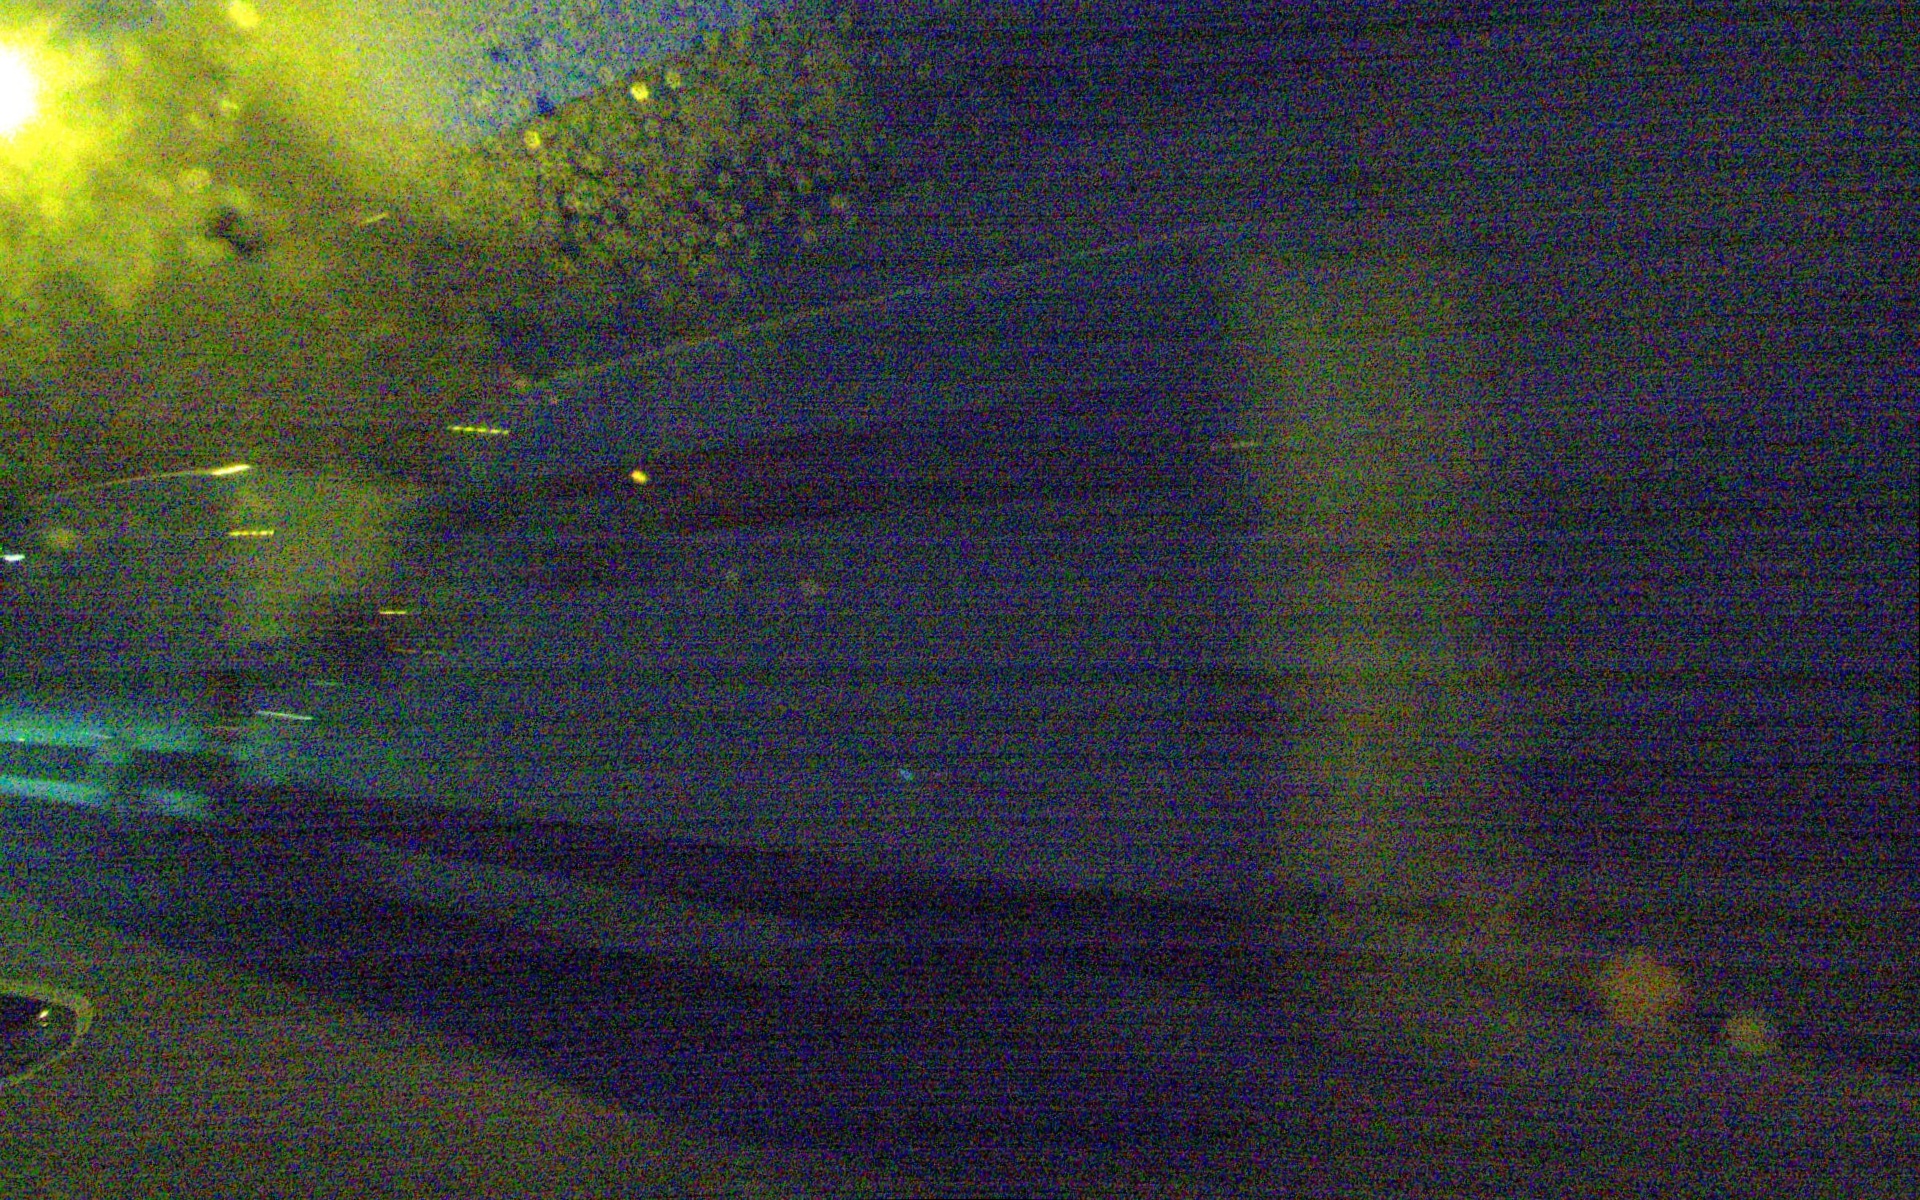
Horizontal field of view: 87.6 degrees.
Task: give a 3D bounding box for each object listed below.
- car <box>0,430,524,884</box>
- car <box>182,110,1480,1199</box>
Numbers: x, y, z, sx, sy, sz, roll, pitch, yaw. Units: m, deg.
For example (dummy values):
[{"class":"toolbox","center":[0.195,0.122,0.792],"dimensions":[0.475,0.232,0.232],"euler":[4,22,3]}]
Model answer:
[{"class":"car","center":[-6.404,0.409,8.105],"dimensions":[5.819,2.603,2.128],"euler":[0,-3,29]},{"class":"car","center":[-1.022,0.316,4.578],"dimensions":[5.927,2.603,1.991],"euler":[-1,-3,32]}]
